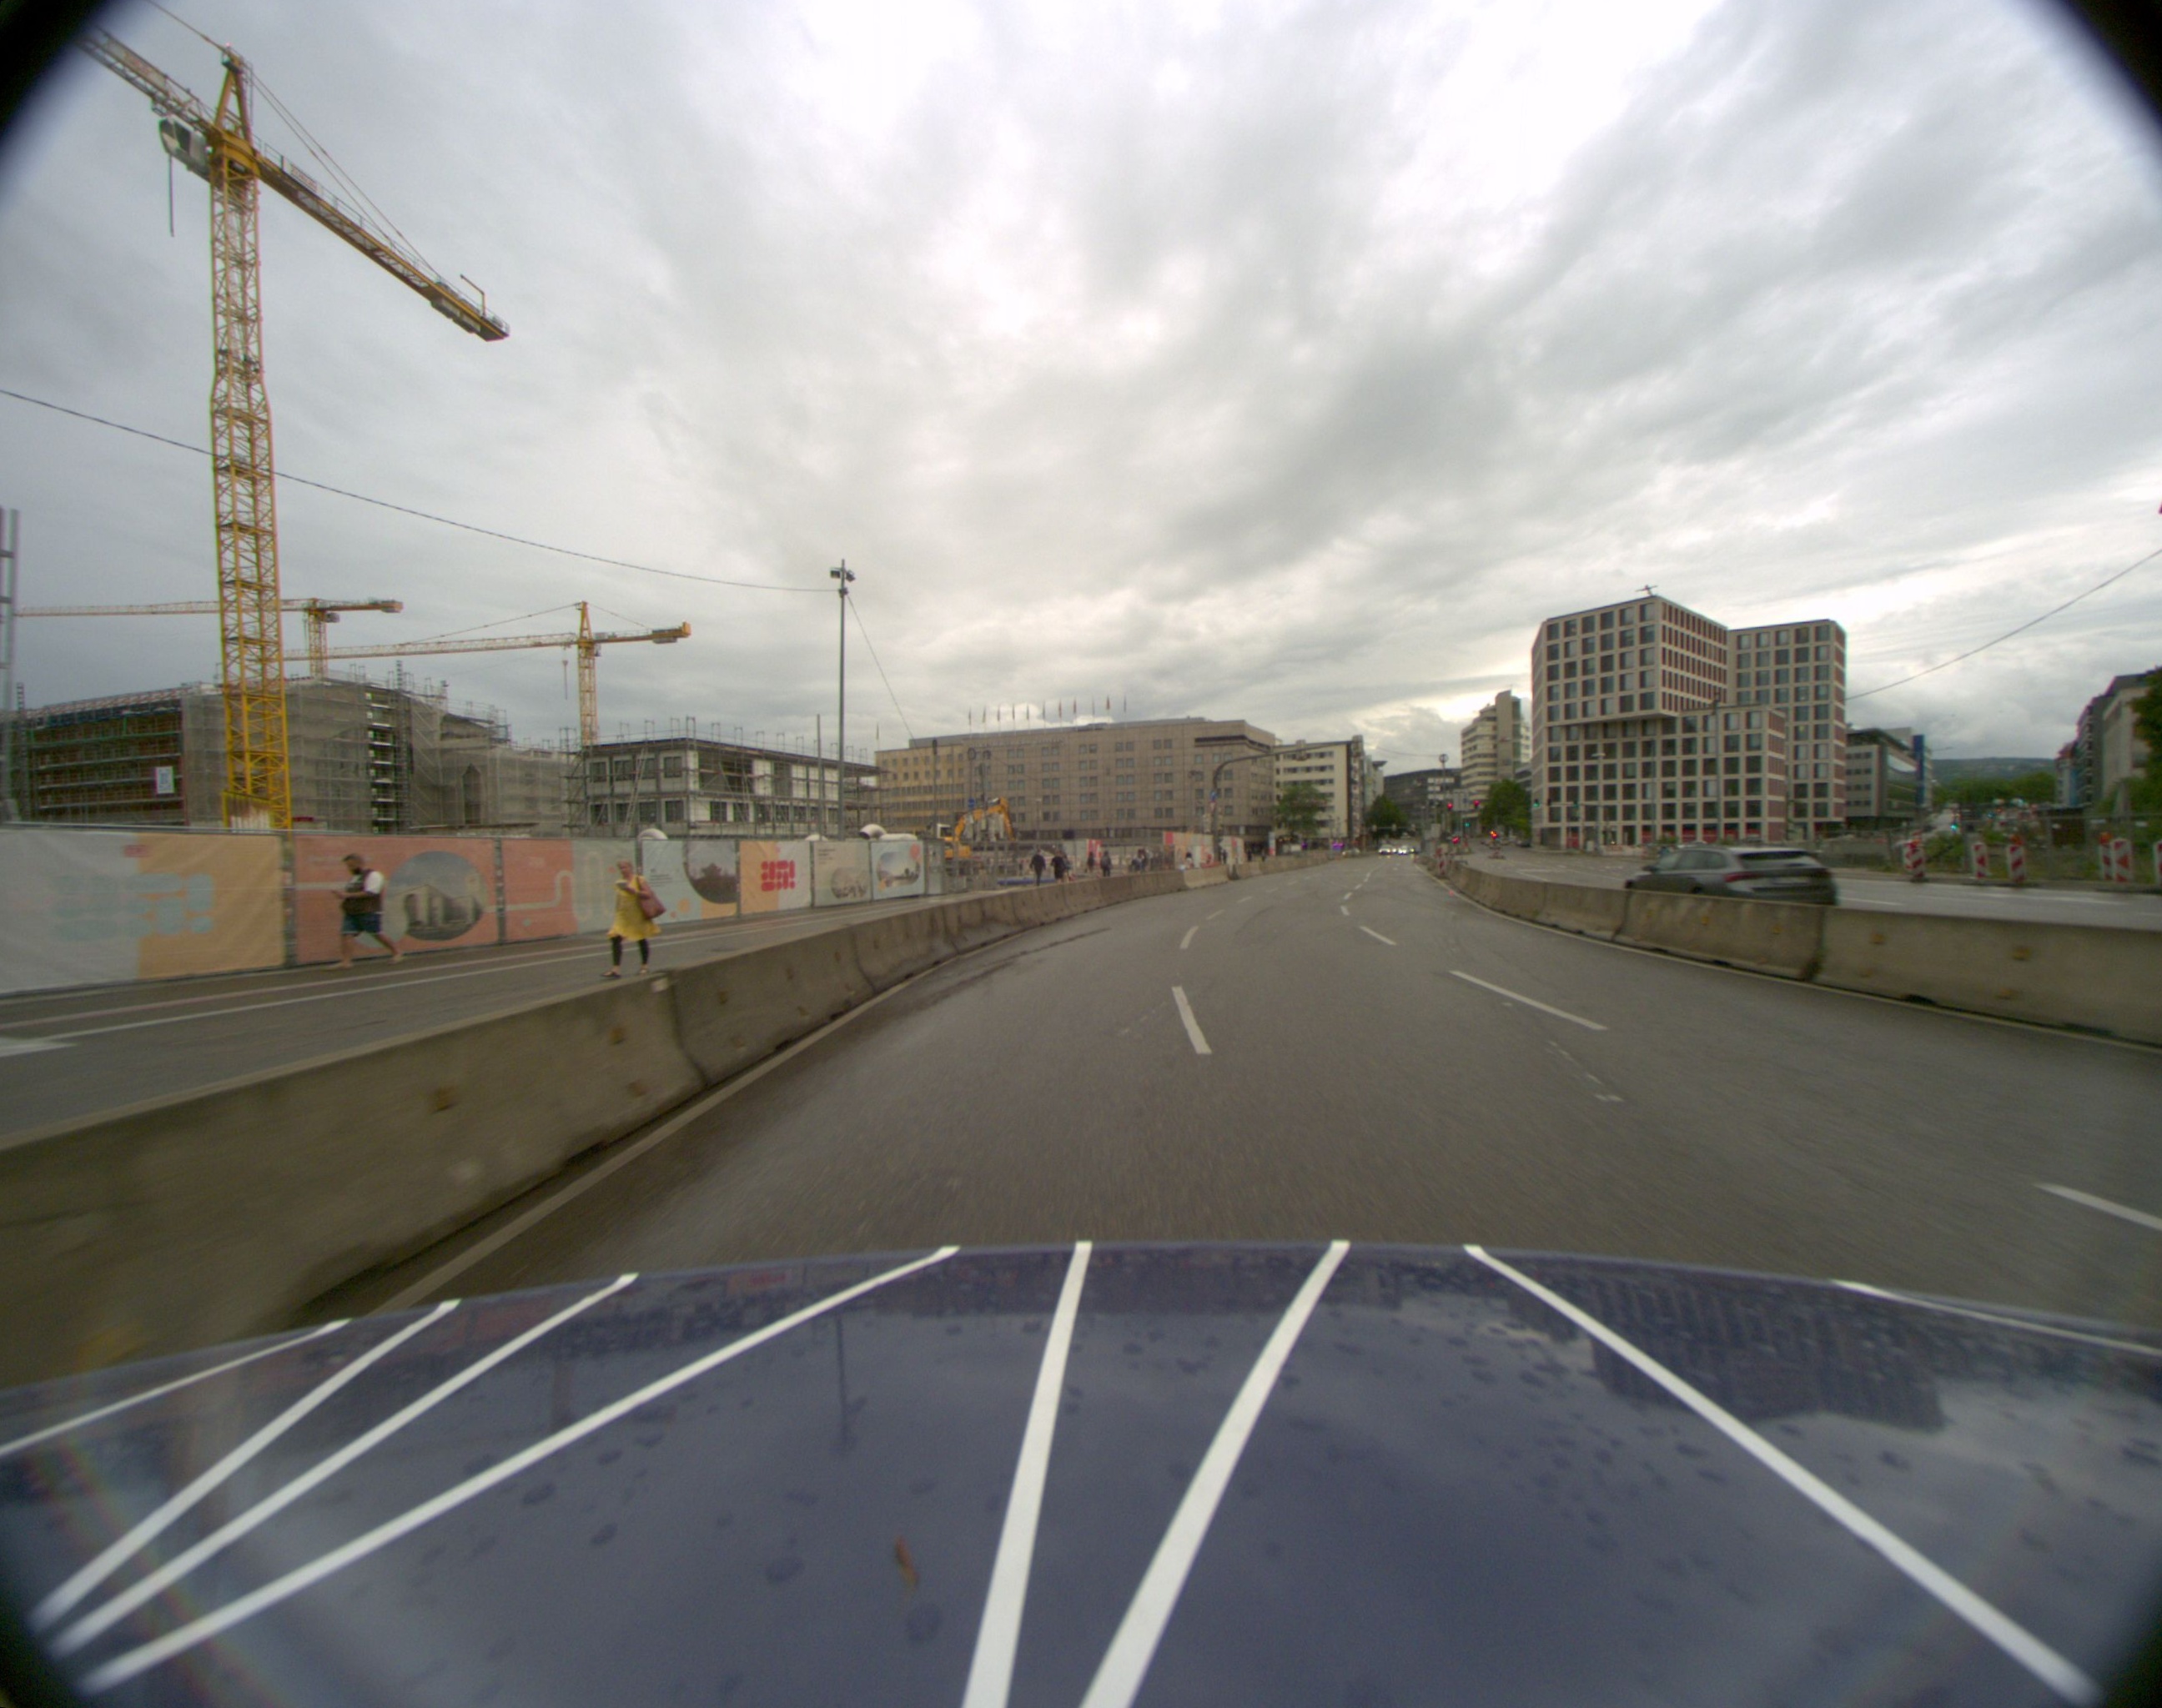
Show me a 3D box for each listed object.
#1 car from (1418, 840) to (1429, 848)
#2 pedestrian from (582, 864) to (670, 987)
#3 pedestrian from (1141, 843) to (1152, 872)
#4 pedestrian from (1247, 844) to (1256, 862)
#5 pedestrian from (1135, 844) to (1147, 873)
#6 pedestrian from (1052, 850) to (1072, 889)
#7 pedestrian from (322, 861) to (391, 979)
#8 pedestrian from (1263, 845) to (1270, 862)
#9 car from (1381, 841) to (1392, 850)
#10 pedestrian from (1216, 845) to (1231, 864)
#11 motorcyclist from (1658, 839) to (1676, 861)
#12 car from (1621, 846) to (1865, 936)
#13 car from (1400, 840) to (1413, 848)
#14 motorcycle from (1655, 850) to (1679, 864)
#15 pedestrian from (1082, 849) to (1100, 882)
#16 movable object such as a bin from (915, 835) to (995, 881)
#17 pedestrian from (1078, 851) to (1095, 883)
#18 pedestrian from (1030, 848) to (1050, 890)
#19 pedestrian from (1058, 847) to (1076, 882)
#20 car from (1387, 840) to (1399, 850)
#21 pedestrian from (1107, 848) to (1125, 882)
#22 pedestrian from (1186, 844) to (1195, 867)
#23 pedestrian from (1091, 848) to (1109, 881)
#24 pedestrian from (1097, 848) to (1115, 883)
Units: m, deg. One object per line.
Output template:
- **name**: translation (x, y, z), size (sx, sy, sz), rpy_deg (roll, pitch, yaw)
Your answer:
- **car**: translation (64.444, -1.859, 142.969), size (1.706, 1.444, 3.801), rpy_deg (-1, 1, 20)
- **pedestrian**: translation (-6.388, 0.973, 10.708), size (0.649, 1.623, 0.907), rpy_deg (-1, 1, -1)
- **pedestrian**: translation (4.061, 0.221, 47.202), size (0.648, 1.751, 0.584), rpy_deg (1, 1, 10)
- **pedestrian**: translation (16.551, -0.085, 73.644), size (0.756, 1.751, 0.766), rpy_deg (1, 1, 10)
- **pedestrian**: translation (3.501, 0.262, 44.217), size (0.585, 1.698, 0.677), rpy_deg (1, 1, 10)
- **pedestrian**: translation (-0.805, 0.662, 32.394), size (0.648, 1.637, 0.948), rpy_deg (1, 1, 12)
- **pedestrian**: translation (-10.988, 0.983, 11.528), size (0.567, 1.738, 0.495), rpy_deg (-1, 1, 17)
- **pedestrian**: translation (19.528, -0.061, 80.055), size (0.653, 1.751, 0.549), rpy_deg (1, 1, 10)
- **car**: translation (59.147, -1.659, 147.155), size (1.995, 1.814, 4.005), rpy_deg (-1, 1, 20)
- **pedestrian**: translation (13.225, 0.018, 70.432), size (1.097, 1.751, 0.908), rpy_deg (1, 1, 25)
- **motorcyclist**: translation (38.602, -0.263, 50.071), size (0.703, 1.478, 0.964), rpy_deg (-1, 1, 20)
- **car**: translation (12.864, 0.619, 15.193), size (1.769, 1.512, 4.390), rpy_deg (-1, 1, 12)
- **car**: translation (61.968, -1.835, 144.790), size (1.995, 1.444, 4.005), rpy_deg (-1, 1, 20)
- **motorcycle**: translation (38.627, 0.196, 50.120), size (0.703, 0.887, 1.825), rpy_deg (-1, 1, 20)
- **pedestrian**: translation (0.512, 0.571, 38.536), size (0.654, 1.681, 0.777), rpy_deg (1, 1, 22)
- **movable object such as a bin**: translation (-7.371, 0.198, 44.526), size (4.136, 2.521, 1.995), rpy_deg (-2, 1, -36)
- **pedestrian**: translation (0.259, 0.625, 37.390), size (0.669, 1.572, 0.903), rpy_deg (1, 1, 12)
- **pedestrian**: translation (-1.754, 0.630, 32.282), size (0.648, 1.733, 0.766), rpy_deg (1, 1, 12)
- **pedestrian**: translation (-0.686, 0.522, 37.825), size (0.746, 1.696, 0.687), rpy_deg (1, 1, 12)
- **car**: translation (63.453, -1.857, 154.607), size (1.995, 1.838, 4.005), rpy_deg (-1, 1, 20)
- **pedestrian**: translation (1.784, 0.547, 38.401), size (0.654, 1.681, 0.777), rpy_deg (1, 1, 22)
- **pedestrian**: translation (8.187, 0.090, 56.716), size (0.648, 1.660, 0.766), rpy_deg (1, 1, 10)
- **pedestrian**: translation (0.998, 0.549, 39.950), size (0.654, 1.681, 0.777), rpy_deg (1, 1, 22)
- **pedestrian**: translation (1.222, 0.568, 37.219), size (0.654, 1.681, 0.777), rpy_deg (1, 1, 22)
